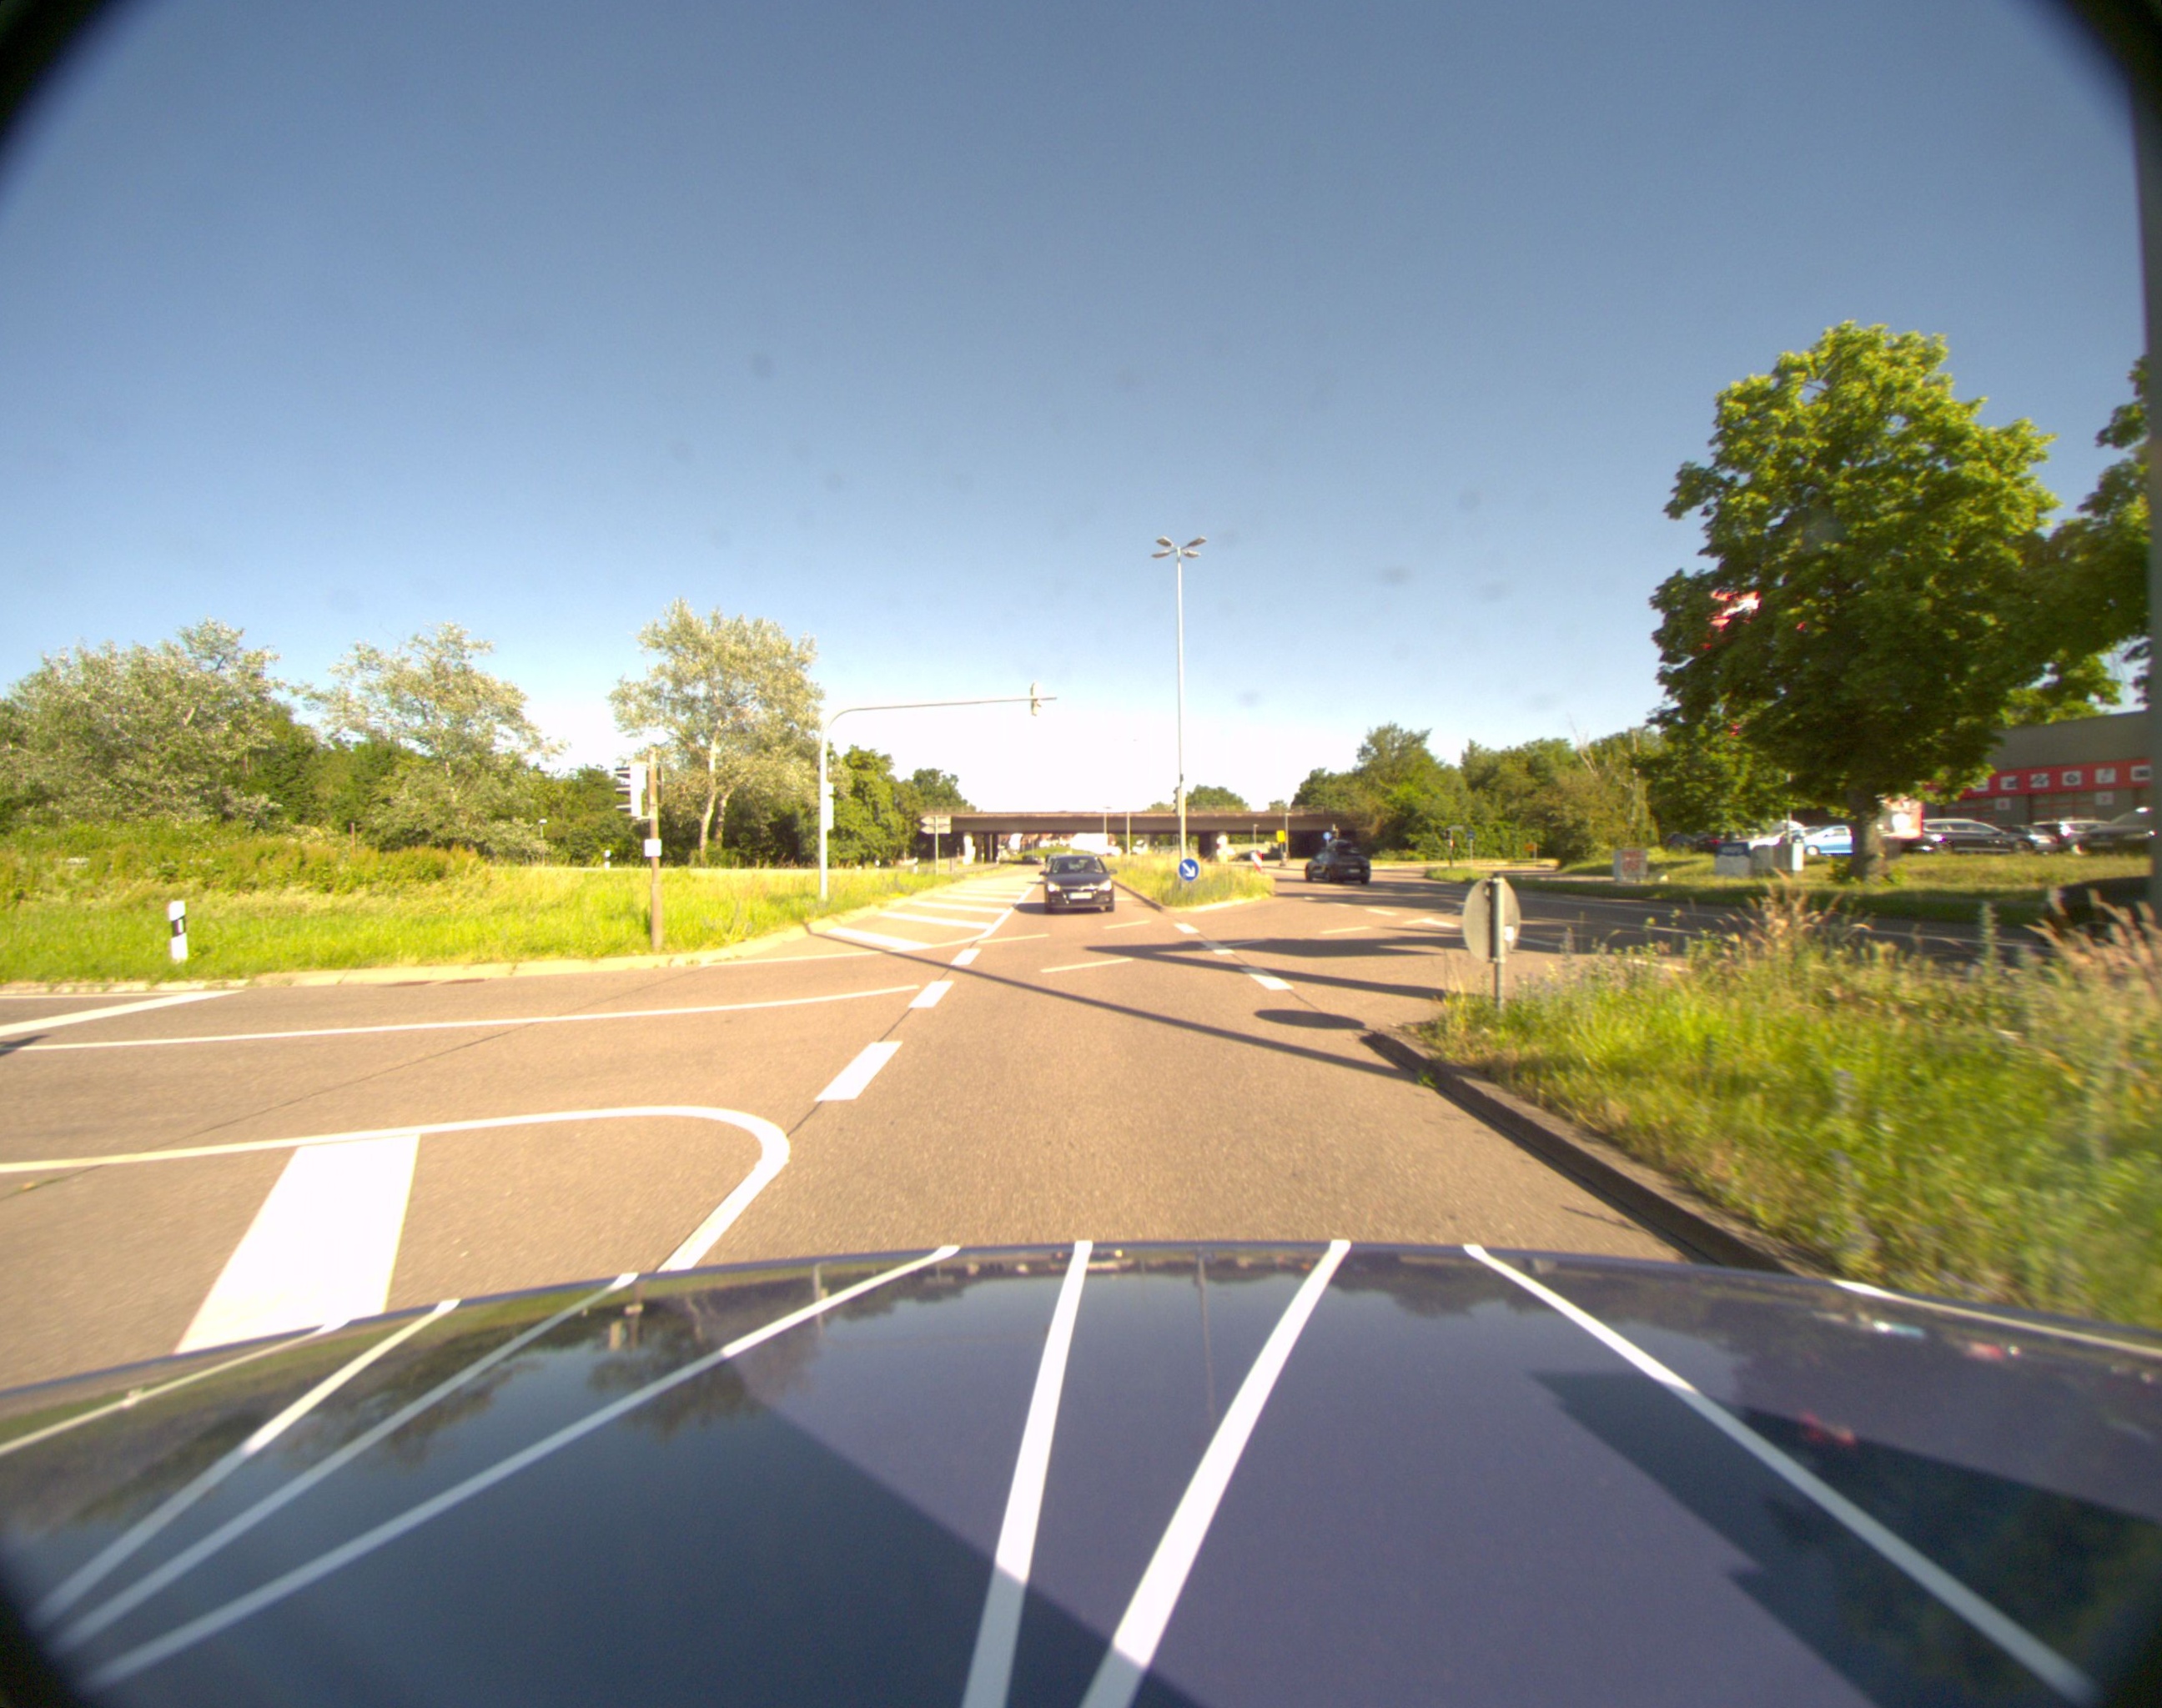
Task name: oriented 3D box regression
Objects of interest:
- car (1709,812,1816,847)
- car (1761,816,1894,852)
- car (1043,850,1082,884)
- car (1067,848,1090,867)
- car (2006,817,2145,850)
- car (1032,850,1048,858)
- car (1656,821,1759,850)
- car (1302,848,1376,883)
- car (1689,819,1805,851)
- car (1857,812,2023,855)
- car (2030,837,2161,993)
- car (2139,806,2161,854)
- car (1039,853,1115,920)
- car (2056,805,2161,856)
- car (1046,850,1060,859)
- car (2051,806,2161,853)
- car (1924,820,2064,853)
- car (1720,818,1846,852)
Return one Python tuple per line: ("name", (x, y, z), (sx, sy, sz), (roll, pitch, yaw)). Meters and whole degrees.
("car", (45.800, -1.601, 51.153), (1.899, 2.139, 5.034), (-1, 1, -33))
("car", (33.825, -0.897, 34.506), (4.127, 1.543, 1.819), (-1, 1, 4))
("car", (-0.916, 0.616, 38.242), (1.827, 1.528, 4.041), (-1, 1, -1))
("car", (-0.258, 0.294, 63.764), (1.827, 1.528, 4.041), (-1, 1, -1))
("car", (46.766, -0.946, 35.781), (4.129, 1.447, 1.895), (-1, 1, -1))
("car", (-7.935, -0.027, 147.601), (1.632, 1.428, 3.269), (-1, 1, -35))
("car", (35.385, -1.046, 43.064), (4.122, 1.543, 1.898), (0, 1, 21))
("car", (12.160, 0.501, 36.152), (1.881, 1.534, 4.571), (1, 1, -1))
("car", (34.364, -0.977, 39.300), (4.124, 1.543, 1.897), (-1, 1, 11))
("car", (32.894, -0.759, 29.194), (4.128, 1.543, 1.946), (-1, 1, 2))
("car", (12.665, 0.672, 7.017), (1.947, 1.687, 4.629), (1, 0, -1))
("car", (33.203, -0.699, 21.505), (4.130, 1.380, 1.945), (-1, 1, -4))
("car", (-0.065, 0.762, 19.784), (1.707, 1.447, 3.959), (-3, 1, 1))
("car", (42.813, -0.927, 30.147), (1.783, 1.945, 5.130), (-1, 0, 3))
("car", (-4.777, 0.075, 129.016), (1.828, 1.528, 4.039), (-1, 0, -8))
("car", (33.639, -0.760, 23.809), (4.129, 1.380, 1.946), (-1, 1, -2))
("car", (42.677, -0.795, 35.654), (1.784, 1.447, 3.983), (-1, 0, 0))
("car", (33.975, -0.919, 36.884), (4.125, 1.543, 1.897), (-1, 1, 10))
